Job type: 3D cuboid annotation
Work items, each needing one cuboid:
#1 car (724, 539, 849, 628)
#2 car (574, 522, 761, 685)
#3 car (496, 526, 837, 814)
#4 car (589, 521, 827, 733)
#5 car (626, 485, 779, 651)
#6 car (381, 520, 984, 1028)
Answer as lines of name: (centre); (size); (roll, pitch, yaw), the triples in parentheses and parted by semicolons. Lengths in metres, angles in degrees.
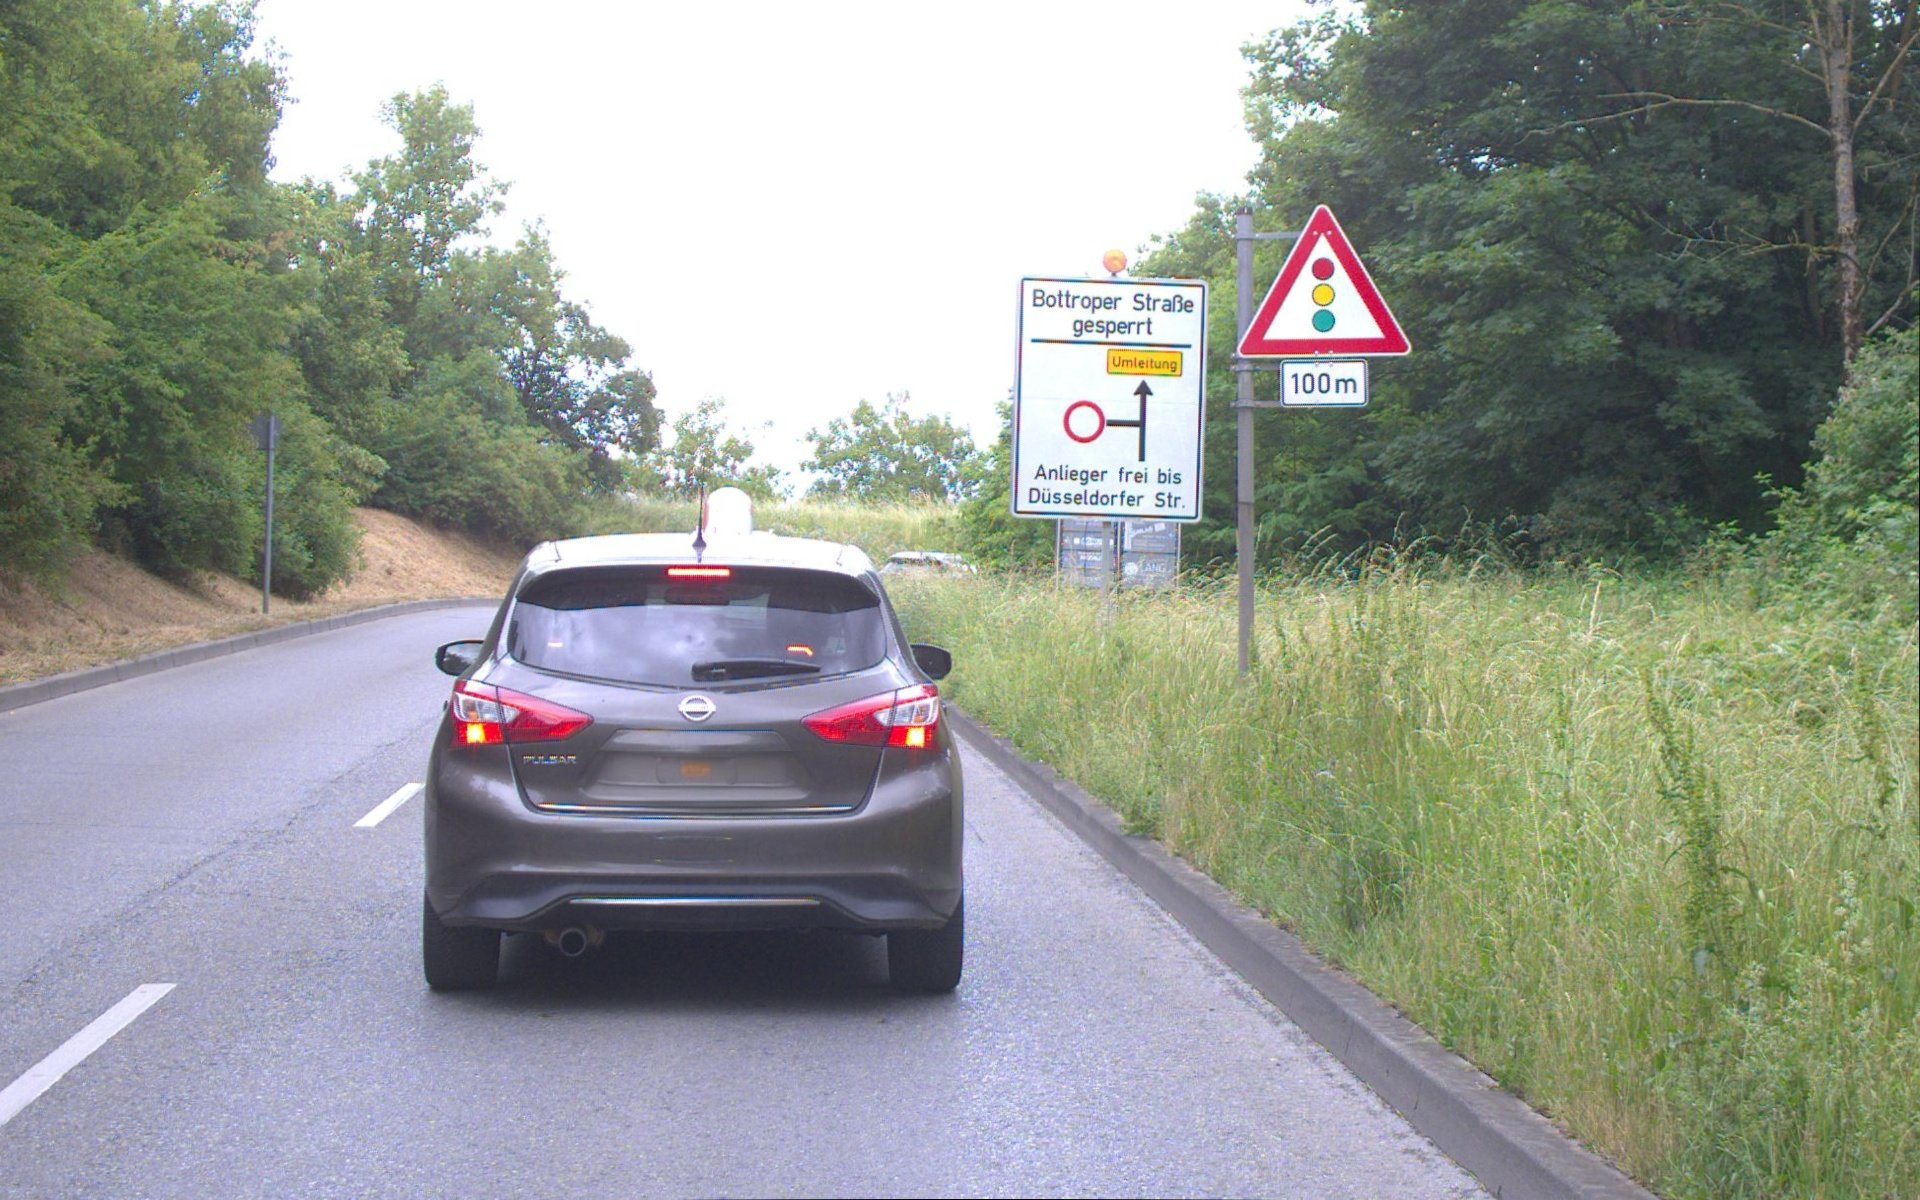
car: (-3.064, -0.315, 61.247); (1.736, 1.521, 3.641); (0, 1, 5)
car: (-2.897, -0.006, 34.629); (1.736, 1.551, 3.544); (0, 1, -3)
car: (-1.665, 0.339, 20.339); (1.830, 1.551, 3.625); (0, 1, -3)
car: (-1.935, 0.163, 27.045); (1.736, 1.551, 3.544); (0, 1, -3)
car: (-3.081, -0.411, 41.724); (1.736, 1.928, 3.544); (0, 1, -2)
car: (-0.968, 0.504, 12.313); (1.830, 1.551, 3.500); (1, 1, -4)
